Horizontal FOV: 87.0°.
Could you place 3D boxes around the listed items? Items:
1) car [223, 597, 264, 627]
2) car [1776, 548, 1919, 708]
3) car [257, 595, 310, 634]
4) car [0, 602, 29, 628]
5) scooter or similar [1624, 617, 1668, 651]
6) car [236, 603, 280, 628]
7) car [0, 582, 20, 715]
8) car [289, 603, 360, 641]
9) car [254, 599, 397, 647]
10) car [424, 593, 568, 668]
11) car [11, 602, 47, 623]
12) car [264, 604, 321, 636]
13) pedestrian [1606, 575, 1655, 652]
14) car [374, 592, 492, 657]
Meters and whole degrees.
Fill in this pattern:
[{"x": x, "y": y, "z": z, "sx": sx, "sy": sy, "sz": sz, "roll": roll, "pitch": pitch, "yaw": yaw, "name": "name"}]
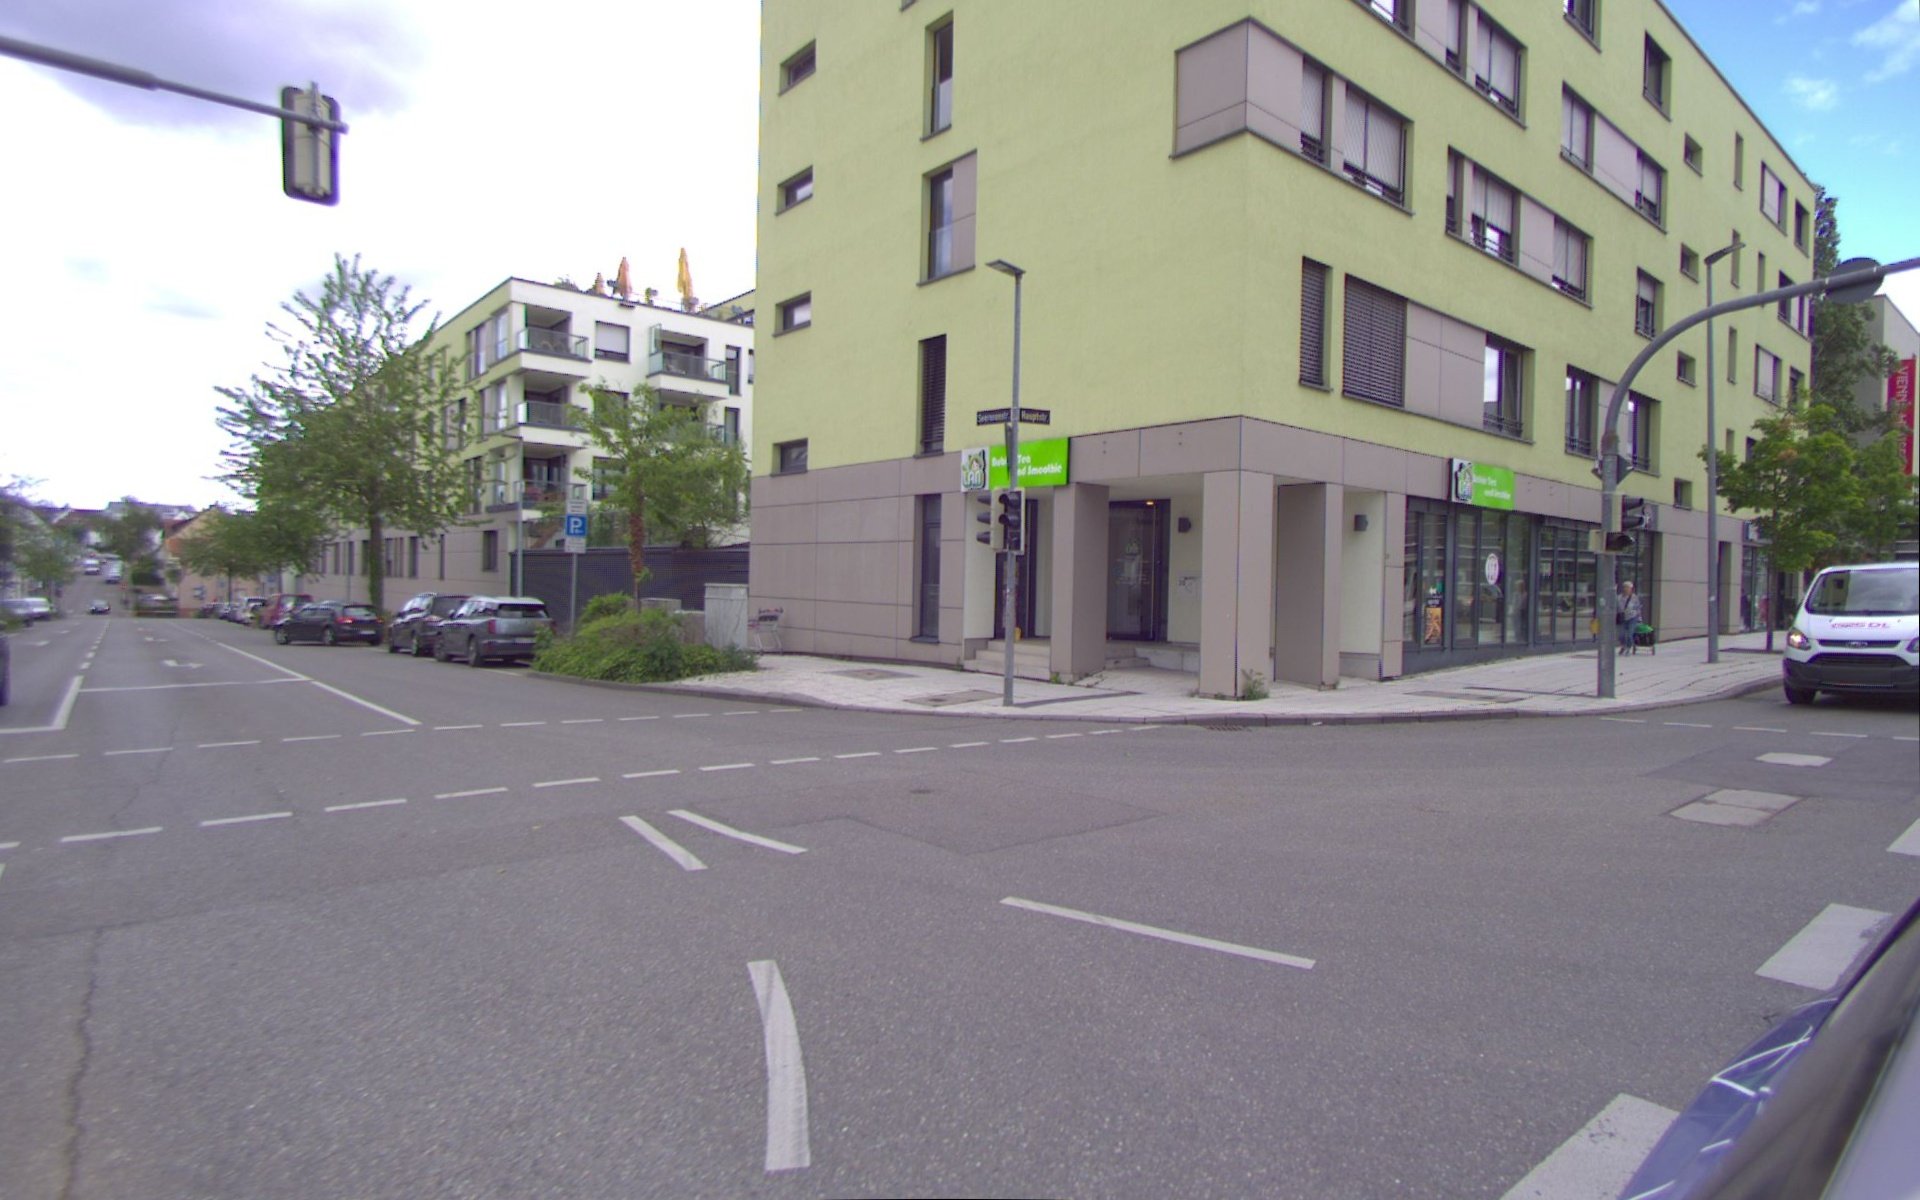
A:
[{"x": -48.726, "y": 0.803, "z": 68.785, "sx": 1.935, "sy": 1.952, "sz": 4.418, "roll": 0, "pitch": -1, "yaw": -40, "name": "car"}, {"x": 13.856, "y": 0.353, "z": 14.489, "sx": 4.904, "sy": 2.013, "sz": 2.002, "roll": 0, "pitch": -1, "yaw": -34, "name": "car"}, {"x": -36.527, "y": 0.754, "z": 54.601, "sx": 1.935, "sy": 2.003, "sz": 4.418, "roll": 0, "pitch": -1, "yaw": -40, "name": "car"}, {"x": -56.703, "y": 0.892, "z": 60.120, "sx": 1.967, "sy": 1.471, "sz": 3.990, "roll": 0, "pitch": 0, "yaw": -44, "name": "car"}, {"x": 15.170, "y": 0.739, "z": 22.367, "sx": 0.809, "sy": 0.681, "sz": 0.593, "roll": 0, "pitch": 2, "yaw": -40, "name": "scooter or similar"}, {"x": -44.343, "y": 0.939, "z": 63.881, "sx": 1.935, "sy": 1.514, "sz": 4.418, "roll": 0, "pitch": -1, "yaw": -40, "name": "car"}, {"x": -13.100, "y": 0.620, "z": 12.465, "sx": 1.917, "sy": 1.680, "sz": 4.096, "roll": 0, "pitch": -1, "yaw": -39, "name": "car"}, {"x": -26.702, "y": 0.887, "z": 42.457, "sx": 1.935, "sy": 1.514, "sz": 4.418, "roll": 0, "pitch": -1, "yaw": -40, "name": "car"}, {"x": -21.366, "y": 0.752, "z": 34.102, "sx": 4.373, "sy": 1.514, "sz": 1.955, "roll": 0, "pitch": -1, "yaw": 23, "name": "car"}, {"x": -11.157, "y": 0.678, "z": 24.177, "sx": 1.936, "sy": 1.636, "sz": 4.416, "roll": 0, "pitch": -1, "yaw": -42, "name": "car"}, {"x": -70.955, "y": 0.910, "z": 77.109, "sx": 1.967, "sy": 1.559, "sz": 4.794, "roll": 0, "pitch": 0, "yaw": -44, "name": "car"}, {"x": -33.571, "y": 0.964, "z": 50.878, "sx": 1.935, "sy": 1.514, "sz": 4.418, "roll": 0, "pitch": -1, "yaw": -40, "name": "car"}, {"x": 14.562, "y": 0.287, "z": 21.989, "sx": 0.592, "sy": 1.613, "sz": 0.697, "roll": 1, "pitch": 2, "yaw": -40, "name": "pedestrian"}, {"x": -14.853, "y": 0.649, "z": 28.411, "sx": 1.936, "sy": 1.682, "sz": 4.416, "roll": 0, "pitch": -1, "yaw": -42, "name": "car"}]
